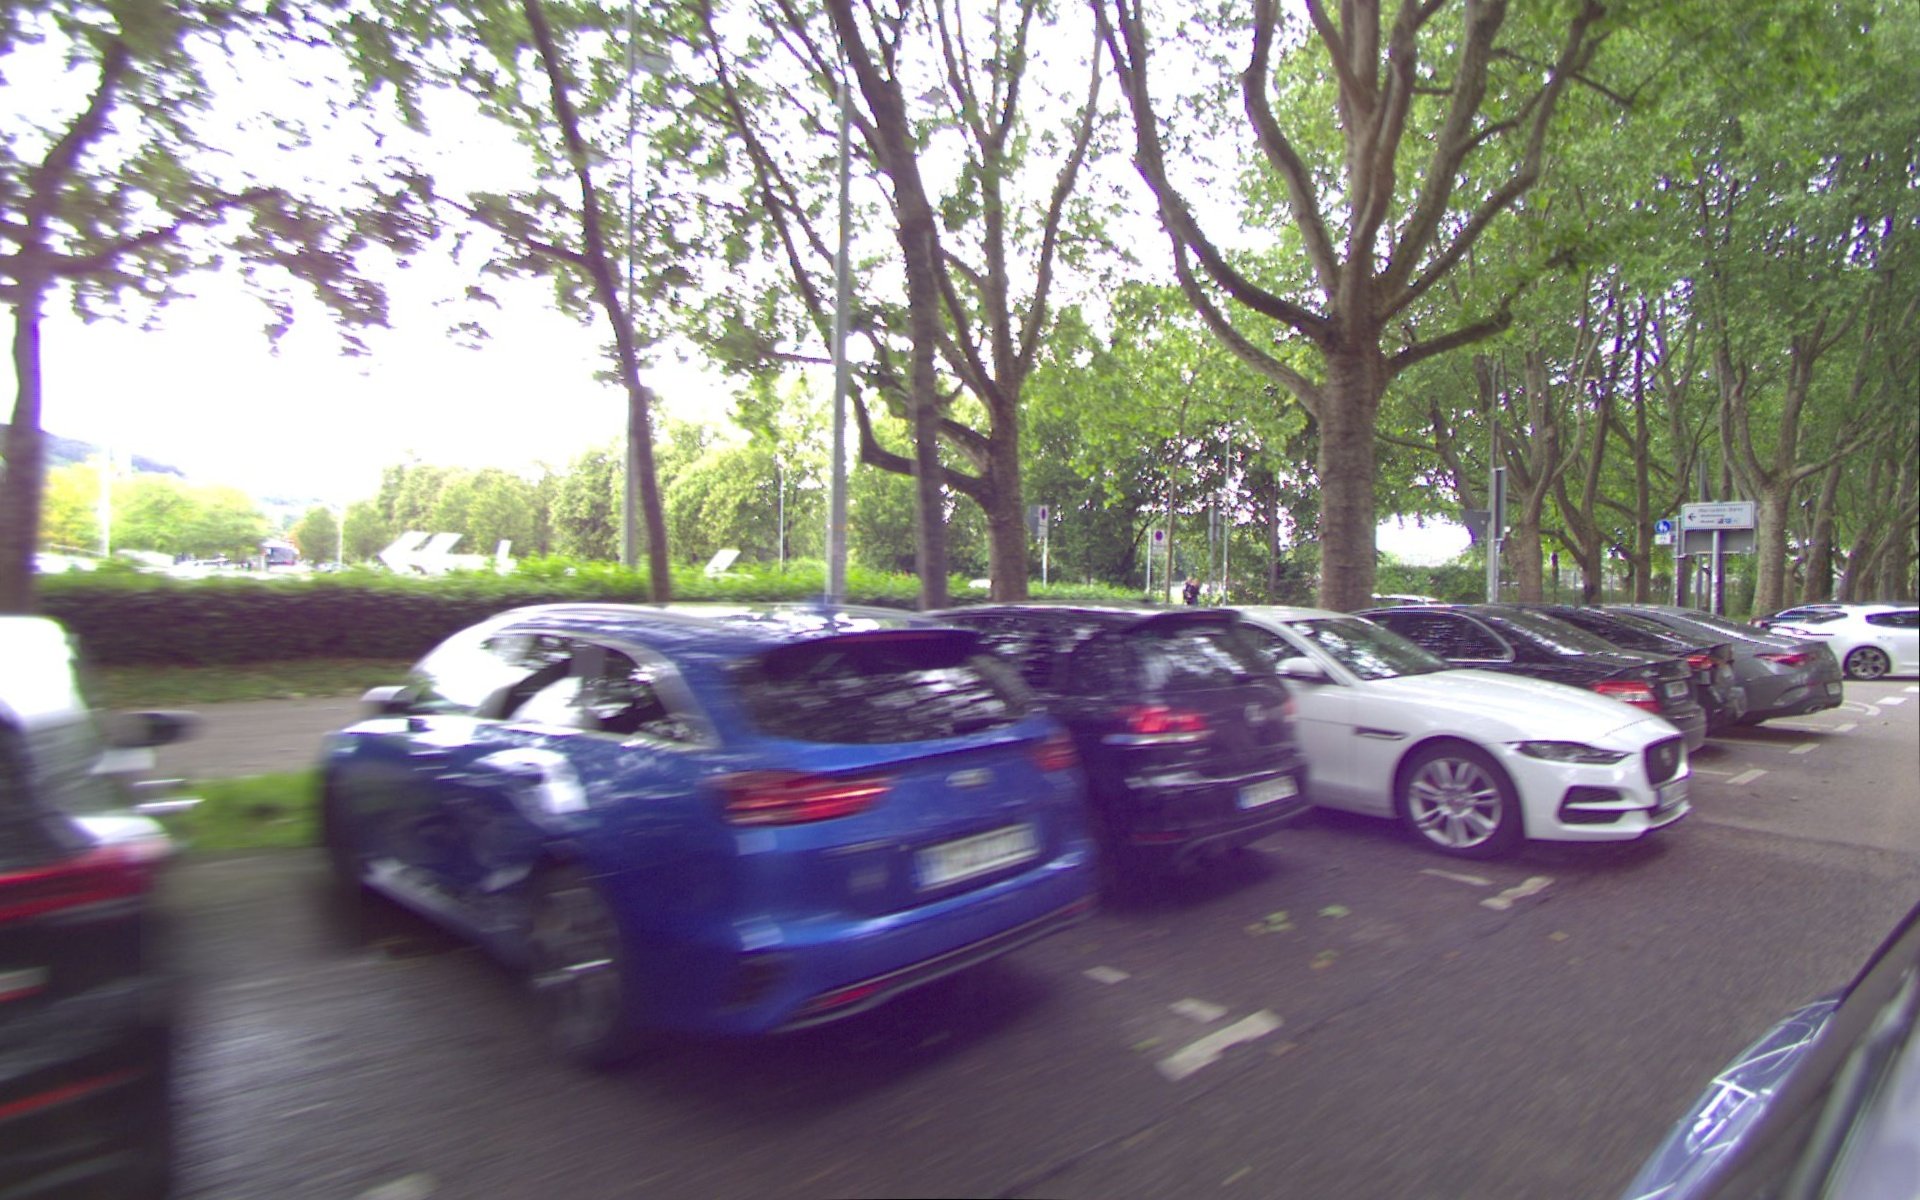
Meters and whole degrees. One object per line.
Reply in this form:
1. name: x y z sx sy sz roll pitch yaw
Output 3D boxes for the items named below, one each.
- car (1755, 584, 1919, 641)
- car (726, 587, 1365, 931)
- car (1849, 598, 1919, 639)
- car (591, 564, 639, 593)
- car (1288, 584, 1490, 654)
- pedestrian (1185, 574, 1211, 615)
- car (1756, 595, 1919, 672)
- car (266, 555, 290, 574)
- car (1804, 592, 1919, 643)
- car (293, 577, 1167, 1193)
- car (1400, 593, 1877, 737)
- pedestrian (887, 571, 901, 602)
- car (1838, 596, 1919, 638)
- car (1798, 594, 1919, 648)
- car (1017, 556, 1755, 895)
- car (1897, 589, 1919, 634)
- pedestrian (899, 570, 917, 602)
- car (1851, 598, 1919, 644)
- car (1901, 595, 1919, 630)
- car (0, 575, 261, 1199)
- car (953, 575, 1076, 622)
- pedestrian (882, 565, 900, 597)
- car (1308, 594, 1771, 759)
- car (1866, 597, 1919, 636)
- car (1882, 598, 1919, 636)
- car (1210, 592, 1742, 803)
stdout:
1. car: 25.572 0.348 28.434 1.966 1.525 4.824 0 -1 -42
2. car: 0.231 0.686 6.436 1.752 1.466 4.023 1 -1 -40
3. car: 37.099 0.670 38.423 1.962 1.542 4.678 0 -1 -35
4. car: -24.874 -1.551 72.864 1.964 2.039 3.995 -1 1 -40
5. car: 10.591 0.410 25.201 1.754 1.480 4.283 0 2 -42
6. pedestrian: 9.259 -0.218 39.433 0.685 1.587 0.725 0 0 -34
7. car: 18.262 0.609 19.121 4.622 1.401 1.986 -1 -1 21
8. car: -77.658 -4.017 115.224 1.964 2.039 3.997 -1 1 -38
9. car: 29.538 0.524 31.575 1.966 1.542 4.669 0 -1 -42
10. car: -1.312 0.686 4.496 4.014 1.466 1.884 0 -1 43
11. car: 8.041 0.640 12.463 1.686 1.435 4.600 1 0 -37
12. pedestrian: -3.577 -0.747 55.081 0.686 1.664 0.724 0 0 5
13. car: 35.466 0.620 37.085 1.867 1.542 4.679 0 0 -35
14. car: 27.409 0.596 29.524 1.966 1.496 4.377 -1 1 -42
15. car: 2.685 0.604 7.327 2.017 1.644 4.533 1 0 -40
16. car: 42.867 0.442 42.639 1.962 1.927 4.677 0 -1 -36
17. pedestrian: -2.743 -0.733 53.204 0.685 1.664 0.725 0 0 -34
18. car: 33.800 0.753 35.015 1.788 1.544 4.107 0 1 -31
19. car: 46.276 0.531 46.117 1.962 1.632 4.677 0 -1 -36
20. car: -3.389 0.696 2.818 1.755 1.474 4.199 1 -1 -43
21. car: 1.846 -0.080 35.470 1.754 1.480 4.283 0 2 -42
22. pedestrian: -3.670 -1.004 53.599 0.711 1.664 0.698 0 0 -34
23. car: 6.093 0.666 10.933 4.018 1.435 1.880 0 0 44
24. car: 38.943 0.627 39.737 1.962 1.542 4.677 0 -1 -36
25. car: 40.839 0.664 41.095 1.962 1.542 4.677 0 -1 -36
26. car: 4.291 0.657 8.901 1.688 1.435 3.838 1 0 -40
